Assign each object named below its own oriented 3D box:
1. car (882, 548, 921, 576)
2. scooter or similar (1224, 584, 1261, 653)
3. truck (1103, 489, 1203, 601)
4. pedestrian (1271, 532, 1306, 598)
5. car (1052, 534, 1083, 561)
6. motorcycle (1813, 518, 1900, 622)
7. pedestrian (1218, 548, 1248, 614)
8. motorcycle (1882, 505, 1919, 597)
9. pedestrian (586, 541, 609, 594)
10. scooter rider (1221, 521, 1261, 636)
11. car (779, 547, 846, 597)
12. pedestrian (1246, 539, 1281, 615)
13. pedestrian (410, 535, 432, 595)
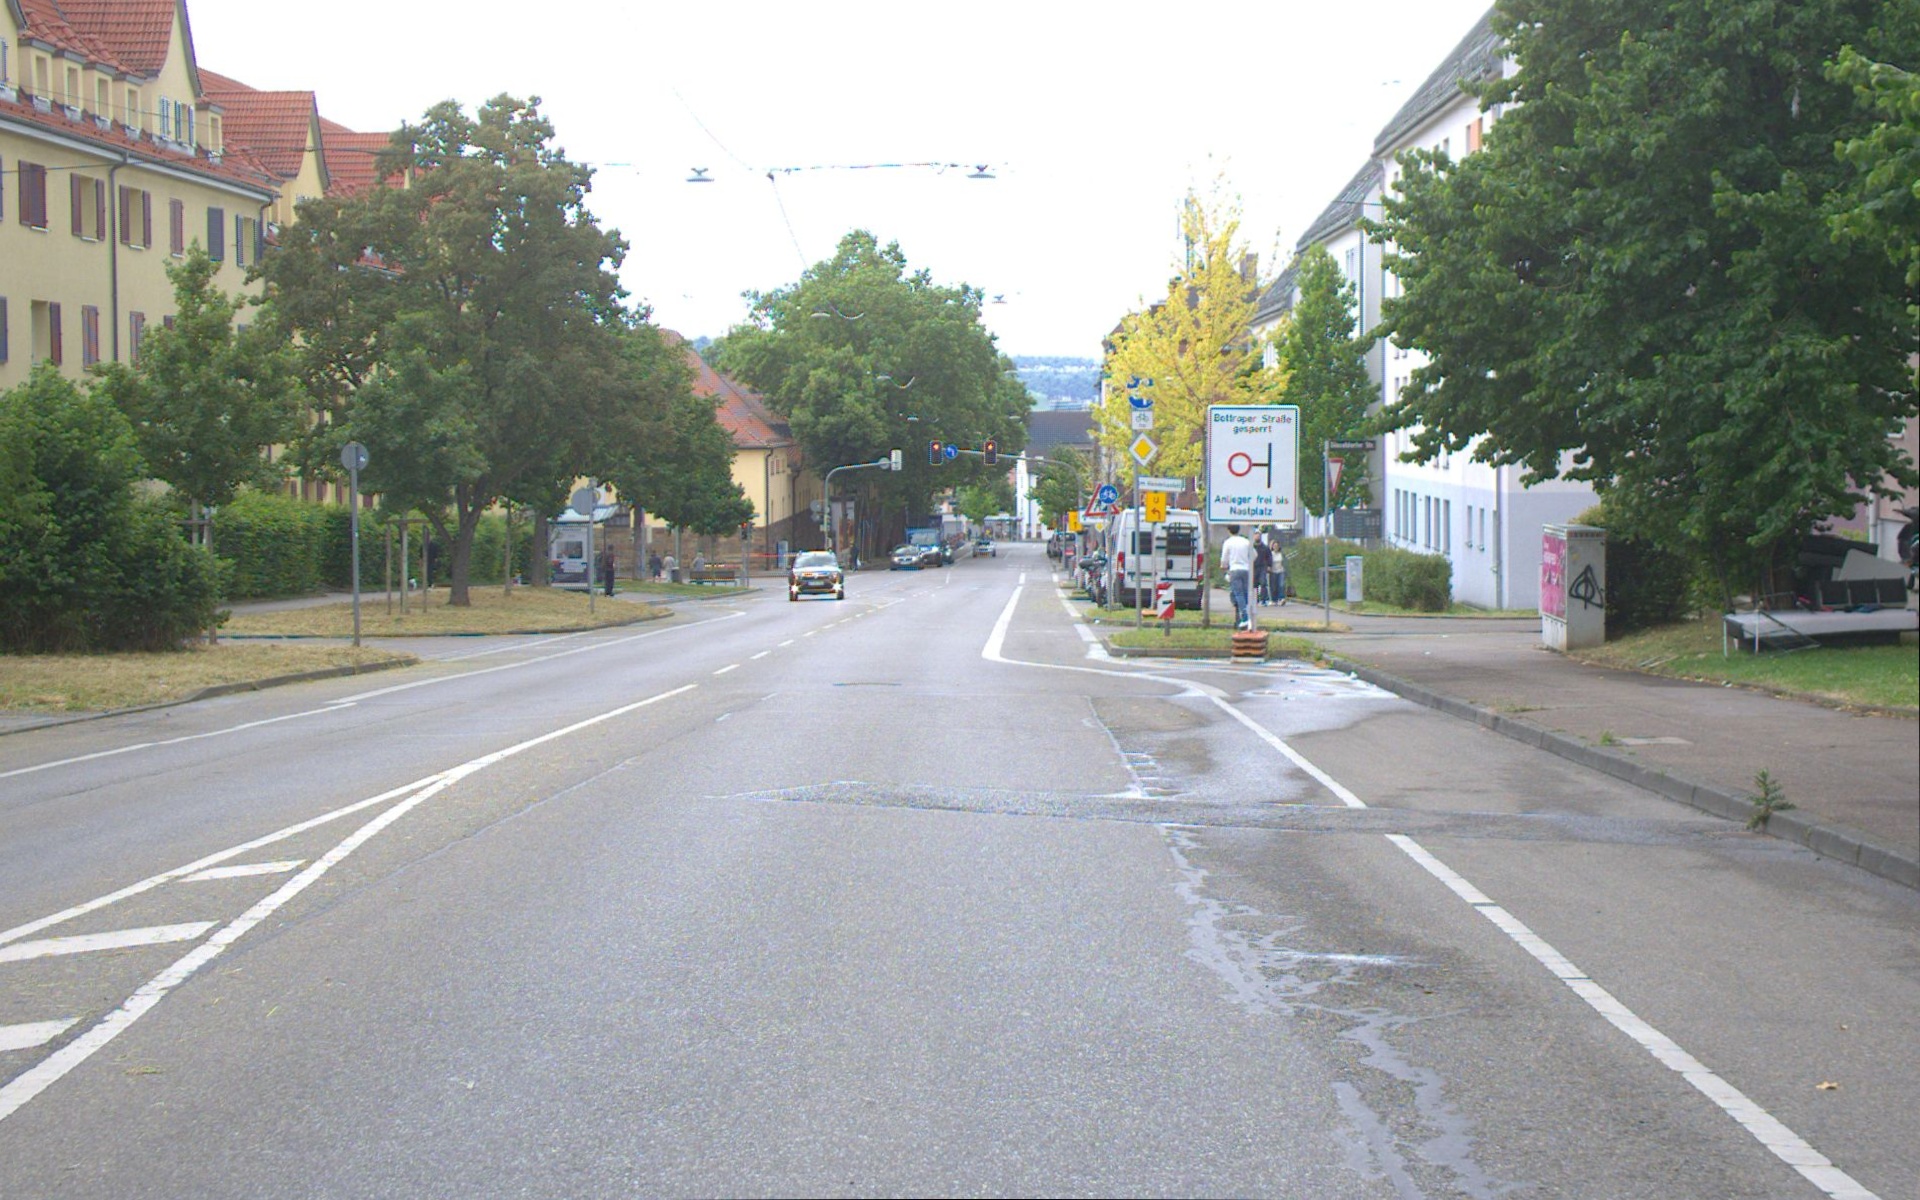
[{"bbox_3d":[-3.226,-2.132,190.944,1.756,1.467,4.306,-1,1,4],"label":"car"},{"bbox_3d":[4.932,0.310,60.054,0.490,1.159,2.075,0,1,1],"label":"scooter or similar"},{"bbox_3d":[4.550,-1.316,81.713,2.052,2.556,5.690,0,1,0],"label":"truck"},{"bbox_3d":[8.191,-0.883,85.825,0.656,1.599,0.575,-4,1,-8],"label":"pedestrian"},{"bbox_3d":[7.798,-3.800,249.372,1.993,1.929,4.919,0,1,-1],"label":"car"},{"bbox_3d":[13.864,-0.474,53.213,0.731,1.564,2.550,0,1,2],"label":"motorcycle"},{"bbox_3d":[6.873,-0.476,86.520,0.576,1.638,0.562,0,0,-13],"label":"pedestrian"},{"bbox_3d":[13.101,-0.665,46.785,0.590,1.223,1.967,0,1,1],"label":"motorcycle"},{"bbox_3d":[-11.952,-1.077,113.386,0.597,1.721,0.861,1,1,4],"label":"pedestrian"},{"bbox_3d":[4.907,-0.380,60.145,0.625,2.007,0.758,0,1,0],"label":"scooter rider"},{"bbox_3d":[-4.889,-0.942,114.606,1.899,1.614,4.361,0,1,2],"label":"car"},{"bbox_3d":[7.569,-0.571,85.685,0.670,1.880,0.766,-1,0,-11],"label":"pedestrian"},{"bbox_3d":[-16.062,-1.055,102.455,0.513,1.773,0.753,0,1,1],"label":"pedestrian"}]
